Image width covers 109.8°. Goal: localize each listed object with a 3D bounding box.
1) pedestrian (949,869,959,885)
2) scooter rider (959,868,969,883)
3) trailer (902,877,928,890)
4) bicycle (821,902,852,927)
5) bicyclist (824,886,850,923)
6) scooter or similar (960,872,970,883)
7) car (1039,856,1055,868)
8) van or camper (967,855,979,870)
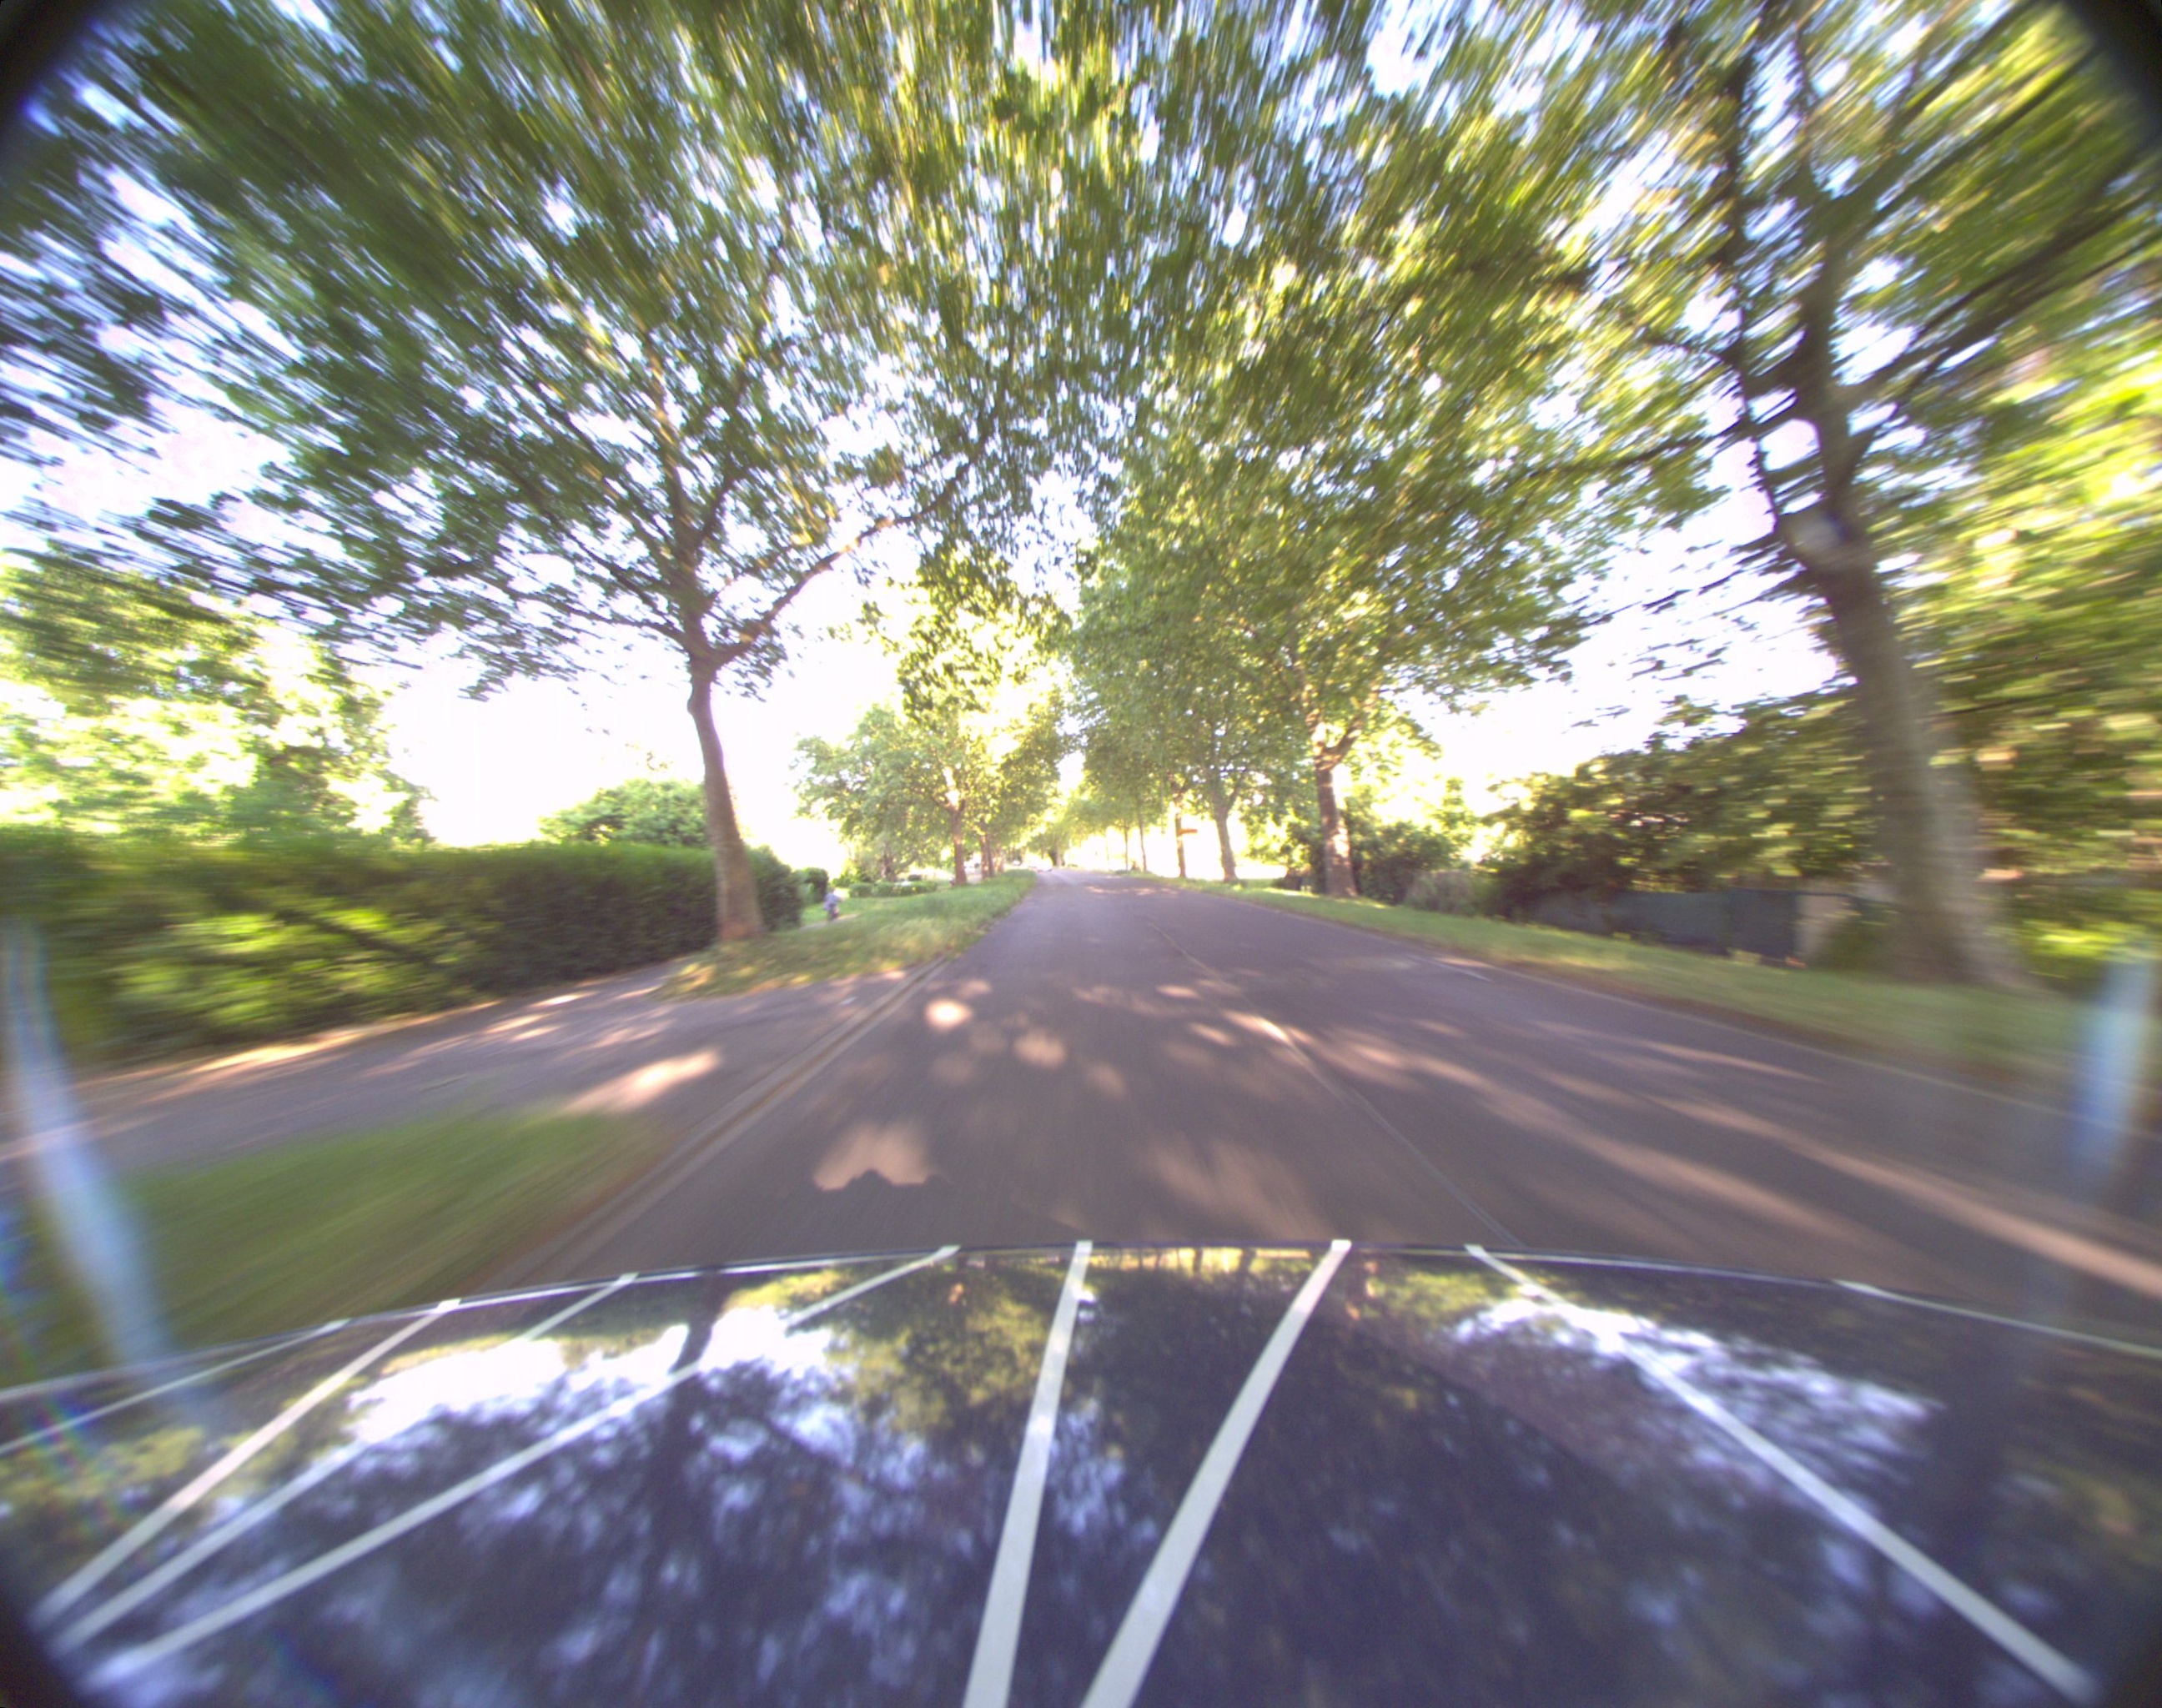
[{"bbox_3d":[-12.678,2.314,75.746,0.844,1.567,0.784,-2,1,-3],"label":"pedestrian"},{"bbox_3d":[-12.666,2.337,81.994,0.783,1.567,0.845,-2,1,11],"label":"scooter rider"},{"bbox_3d":[-15.195,2.670,69.536,2.123,1.046,1.200,-2,1,1],"label":"trailer"},{"bbox_3d":[-9.648,2.377,30.024,0.554,0.812,1.888,-2,1,0],"label":"bicycle"},{"bbox_3d":[-9.648,1.992,30.056,0.736,1.358,0.770,-2,1,-2],"label":"bicyclist"},{"bbox_3d":[-12.593,2.564,82.318,0.340,1.128,1.601,-2,1,16],"label":"scooter or similar"},{"bbox_3d":[-4.783,1.103,106.771,1.999,1.655,3.998,-2,0,-4],"label":"car"},{"bbox_3d":[-22.755,1.766,160.171,2.388,2.783,5.681,-2,1,-8],"label":"van or camper"}]
